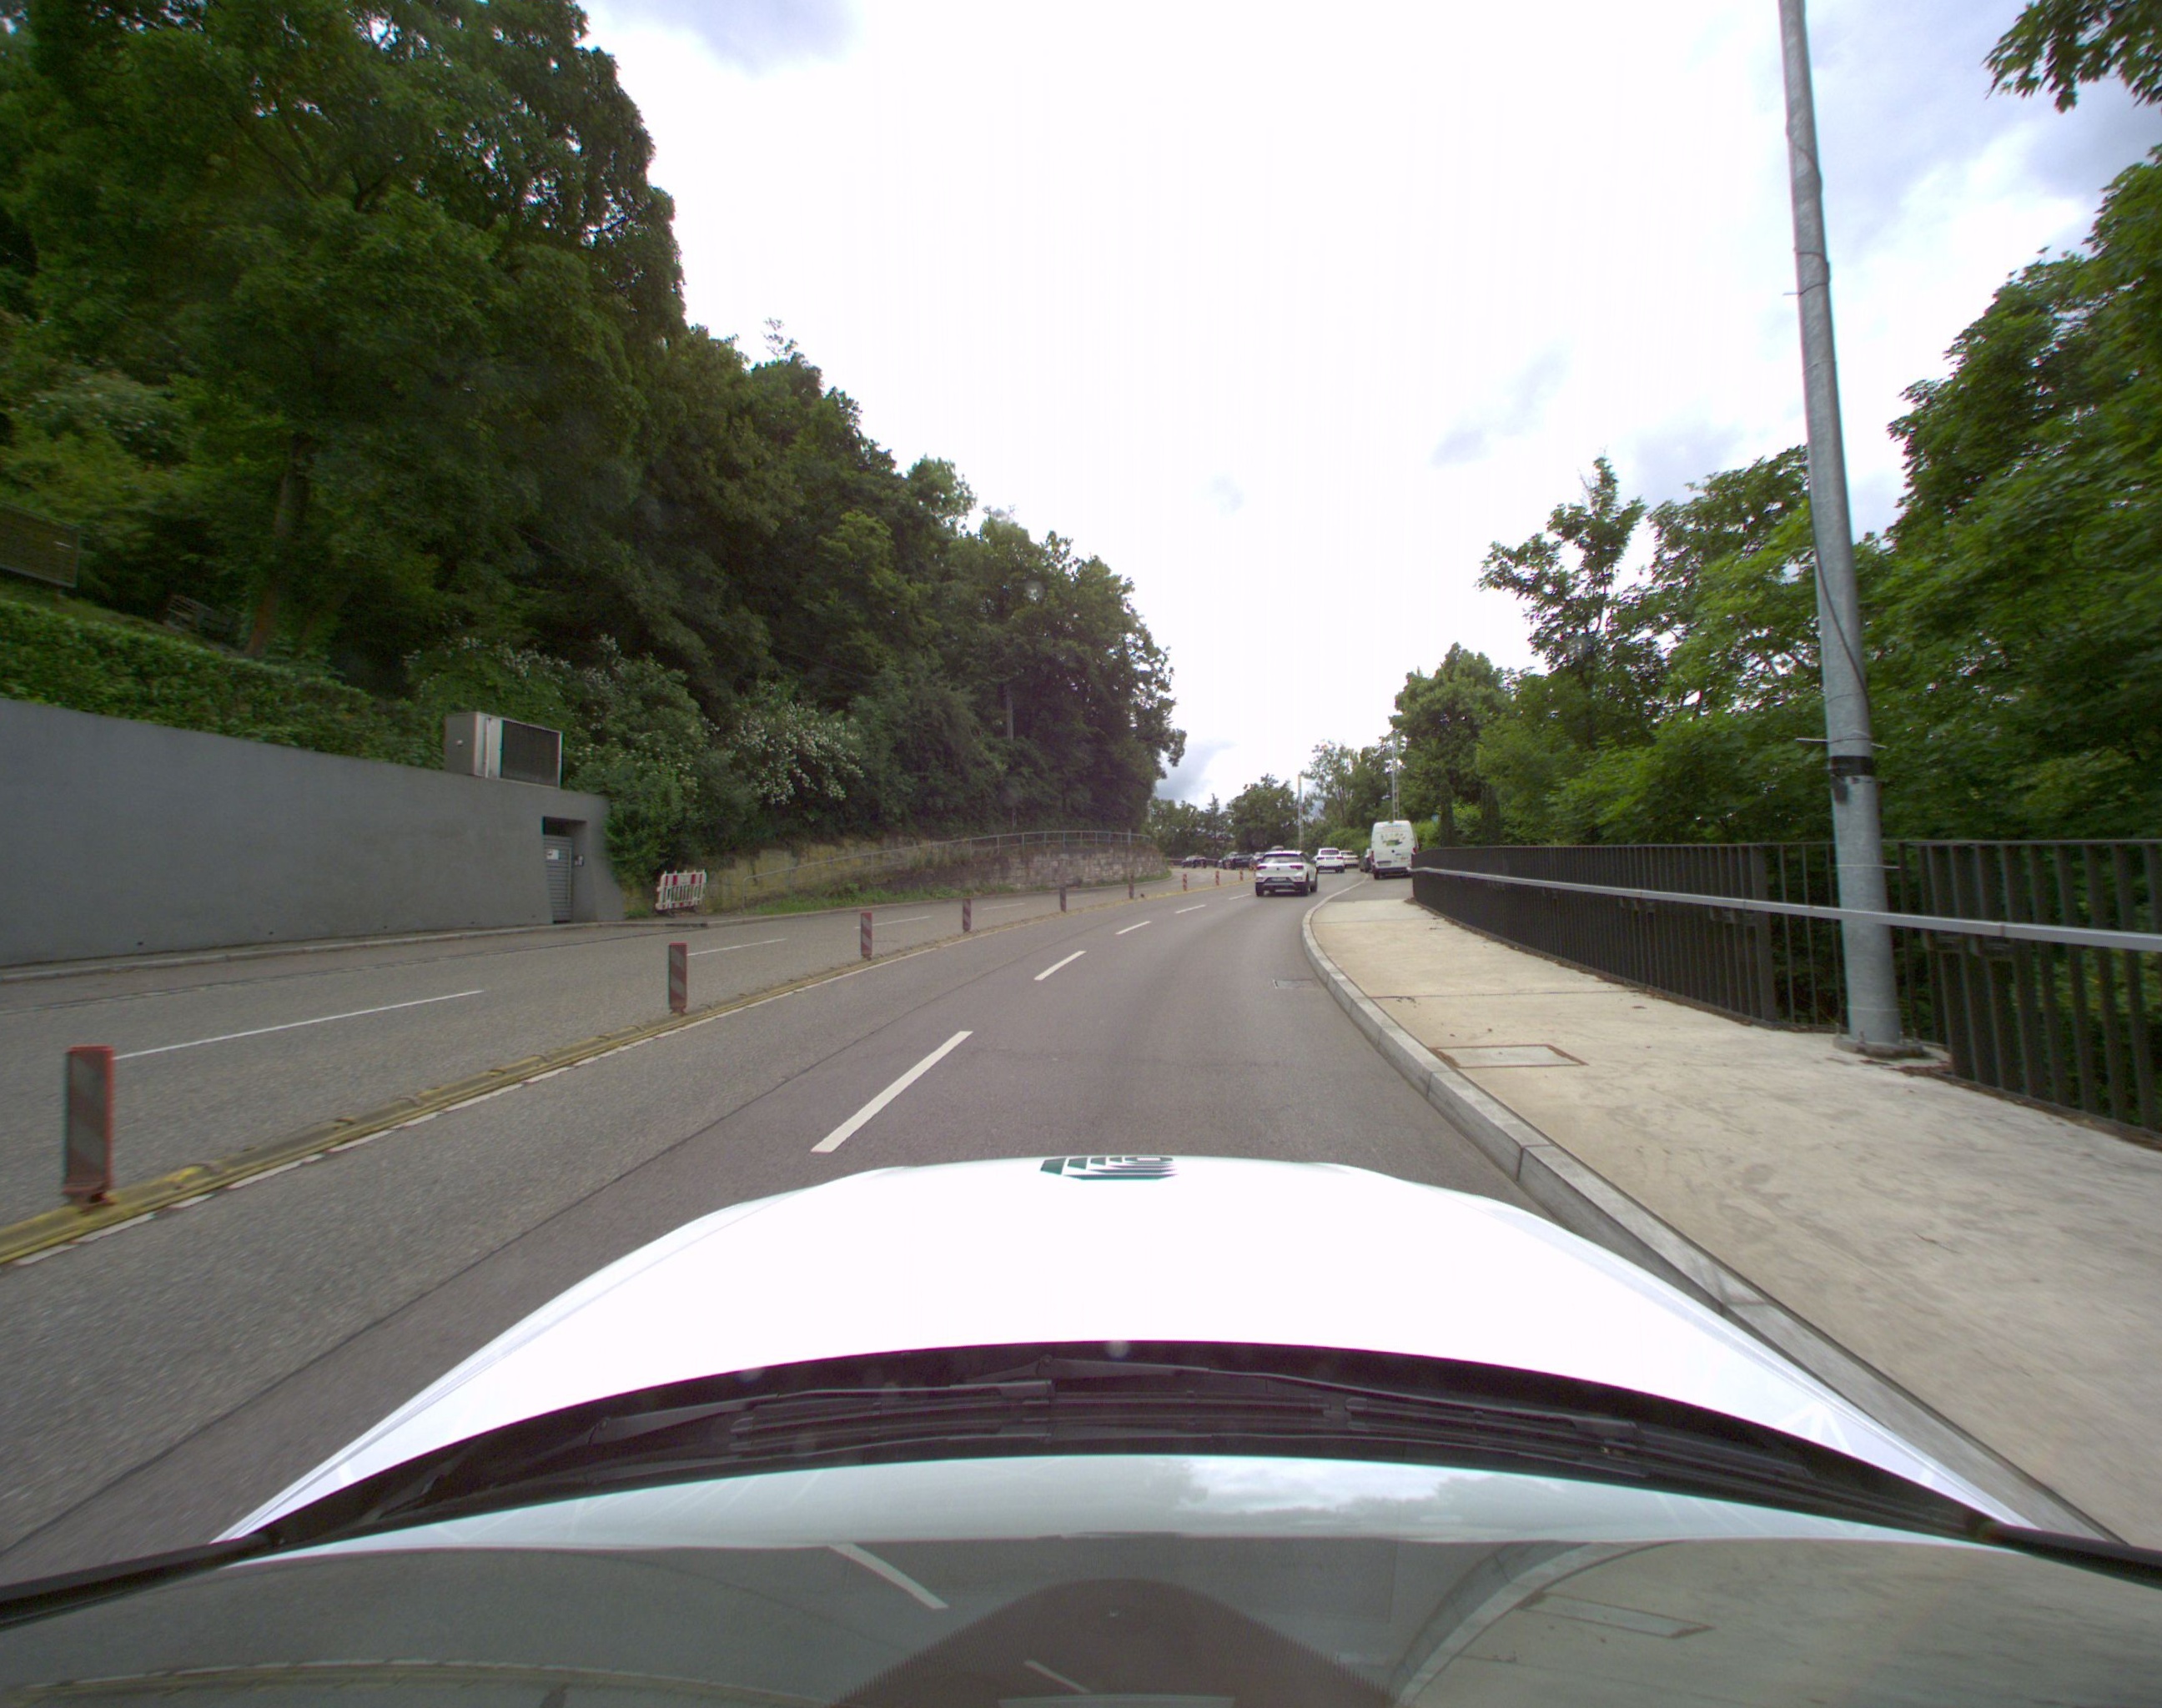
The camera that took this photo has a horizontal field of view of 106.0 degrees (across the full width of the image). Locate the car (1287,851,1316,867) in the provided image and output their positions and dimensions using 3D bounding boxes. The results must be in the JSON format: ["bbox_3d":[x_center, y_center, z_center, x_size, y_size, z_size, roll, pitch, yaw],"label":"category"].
[{"bbox_3d":[20.872,0.474,77.226,1.636,1.464,3.999,0,-1,0],"label":"car"}]

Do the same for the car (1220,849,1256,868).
[{"bbox_3d":[14.836,0.414,77.104,1.817,1.690,3.982,1,-1,-13],"label":"car"}]

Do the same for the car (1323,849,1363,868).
[{"bbox_3d":[21.264,0.352,66.203,1.773,1.418,3.995,-2,-1,-3],"label":"car"}]

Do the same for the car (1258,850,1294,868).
[{"bbox_3d":[19.931,0.540,83.380,1.799,1.772,4.590,0,-1,-11],"label":"car"}]

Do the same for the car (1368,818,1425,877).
[{"bbox_3d":[15.182,-0.285,38.979,2.065,2.523,5.878,-4,-1,24],"label":"car"}]

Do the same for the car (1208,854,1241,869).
[{"bbox_3d":[15.251,0.765,86.683,1.830,1.523,3.975,2,-1,-18],"label":"car"}]

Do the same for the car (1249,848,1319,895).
[{"bbox_3d":[7.308,0.598,29.070,1.851,1.536,3.824,-1,0,22],"label":"car"}]

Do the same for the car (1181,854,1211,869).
[{"bbox_3d":[13.571,0.894,96.113,1.895,1.611,3.973,2,-1,-20],"label":"car"}]

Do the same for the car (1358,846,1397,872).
[{"bbox_3d":[18.046,0.293,49.779,1.688,1.464,4.681,-2,-1,14],"label":"car"}]

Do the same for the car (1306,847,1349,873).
[{"bbox_3d":[16.154,0.398,53.637,1.984,1.586,4.006,1,-1,6],"label":"car"}]
